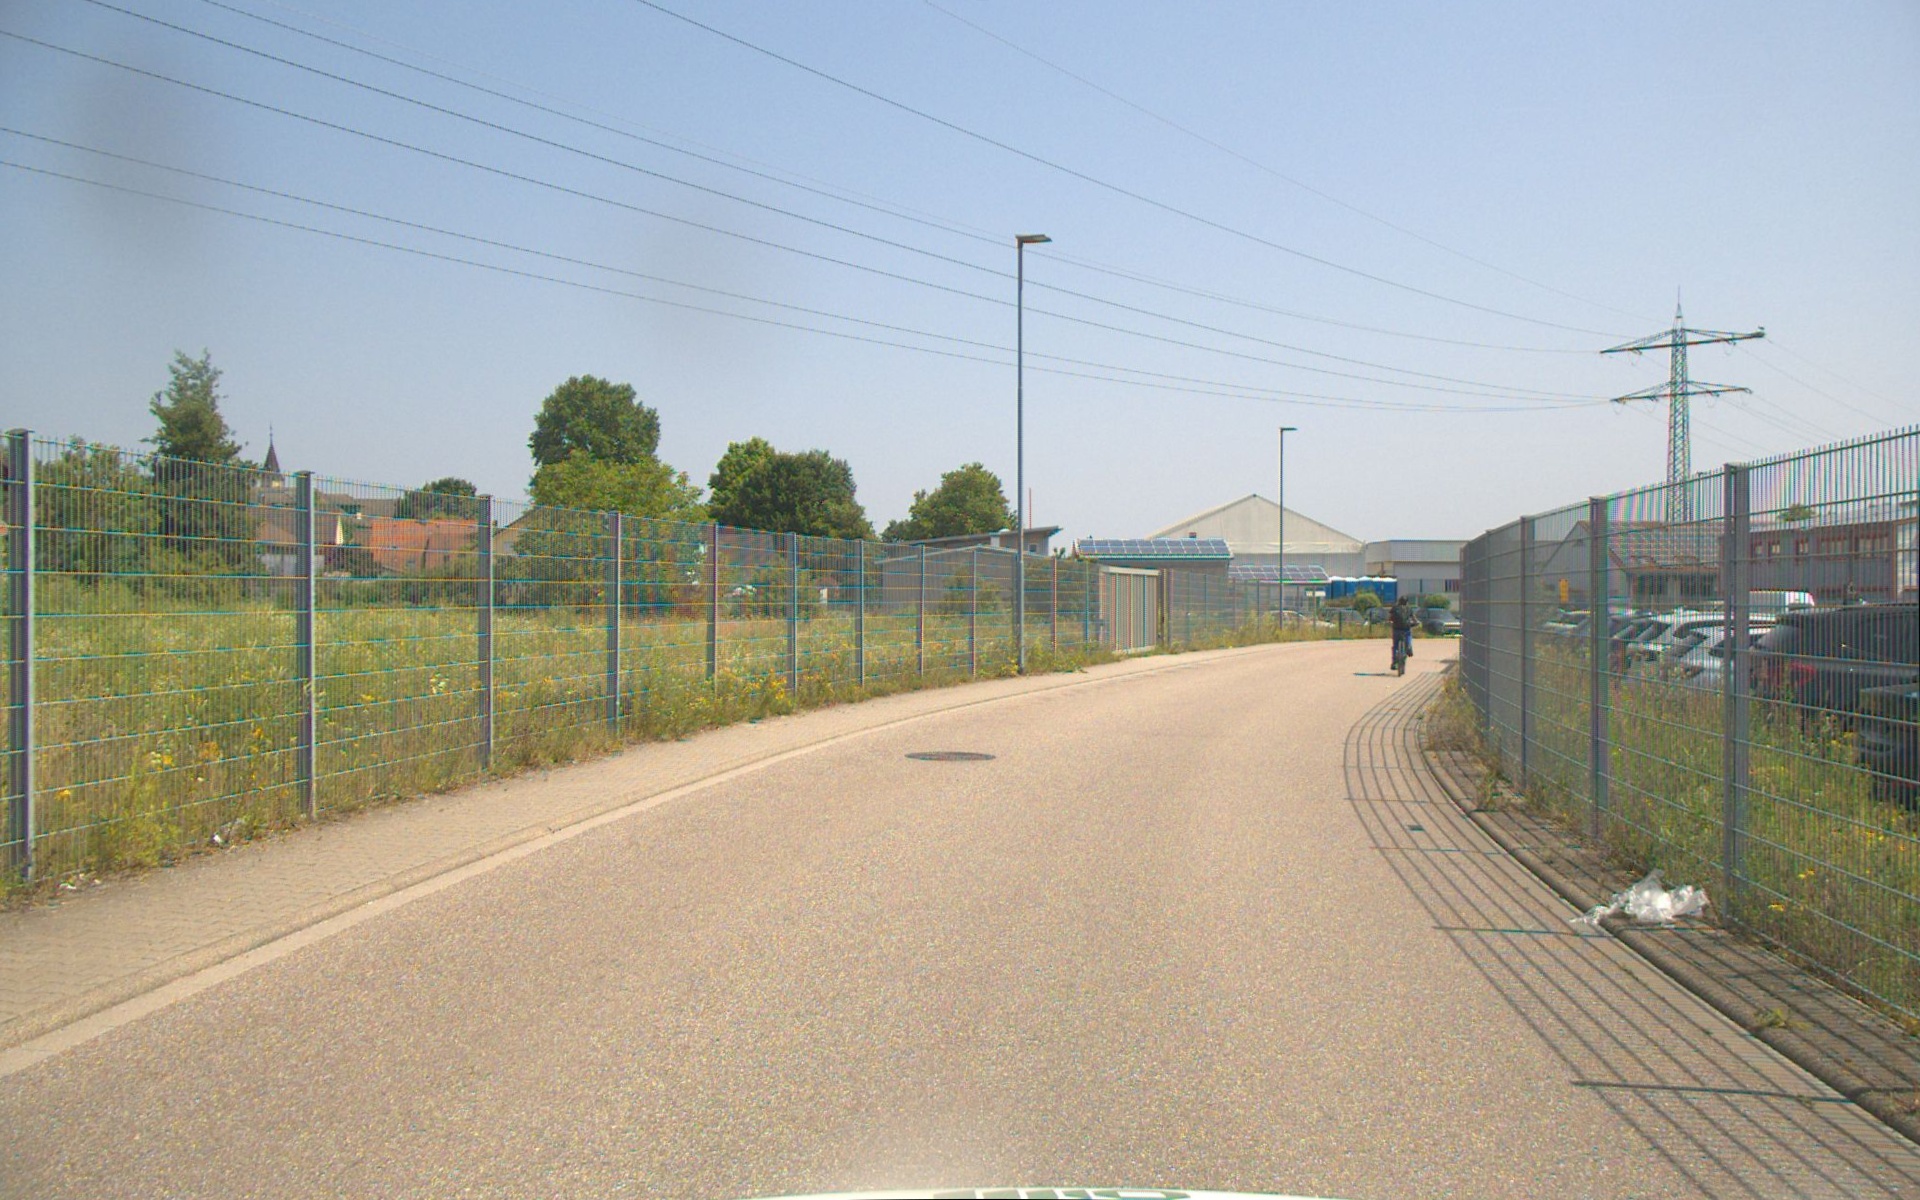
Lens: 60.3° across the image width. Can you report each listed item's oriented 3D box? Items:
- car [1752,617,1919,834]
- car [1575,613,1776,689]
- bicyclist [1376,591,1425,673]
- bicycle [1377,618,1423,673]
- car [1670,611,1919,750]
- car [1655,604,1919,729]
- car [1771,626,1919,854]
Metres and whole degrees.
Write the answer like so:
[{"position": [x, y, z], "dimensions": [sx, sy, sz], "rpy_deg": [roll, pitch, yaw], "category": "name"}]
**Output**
[{"position": [8.839, 0.995, 13.462], "dimensions": [4.193, 1.666, 1.765], "rpy_deg": [0, 1, 22], "category": "car"}, {"position": [16.744, 1.166, 38.884], "dimensions": [4.076, 1.499, 1.639], "rpy_deg": [3, 0, 15], "category": "car"}, {"position": [9.094, 0.645, 34.116], "dimensions": [0.825, 1.646, 1.039], "rpy_deg": [2, 1, 22], "category": "bicyclist"}, {"position": [9.094, 0.925, 34.139], "dimensions": [0.671, 1.070, 1.900], "rpy_deg": [1, 0, 22], "category": "bicycle"}, {"position": [10.780, 0.964, 19.558], "dimensions": [4.122, 1.430, 1.839], "rpy_deg": [3, 0, 17], "category": "car"}, {"position": [11.699, 0.890, 22.399], "dimensions": [4.126, 1.430, 1.838], "rpy_deg": [3, 0, 23], "category": "car"}, {"position": [7.867, 0.897, 10.973], "dimensions": [4.189, 1.402, 1.766], "rpy_deg": [0, 1, 15], "category": "car"}]
